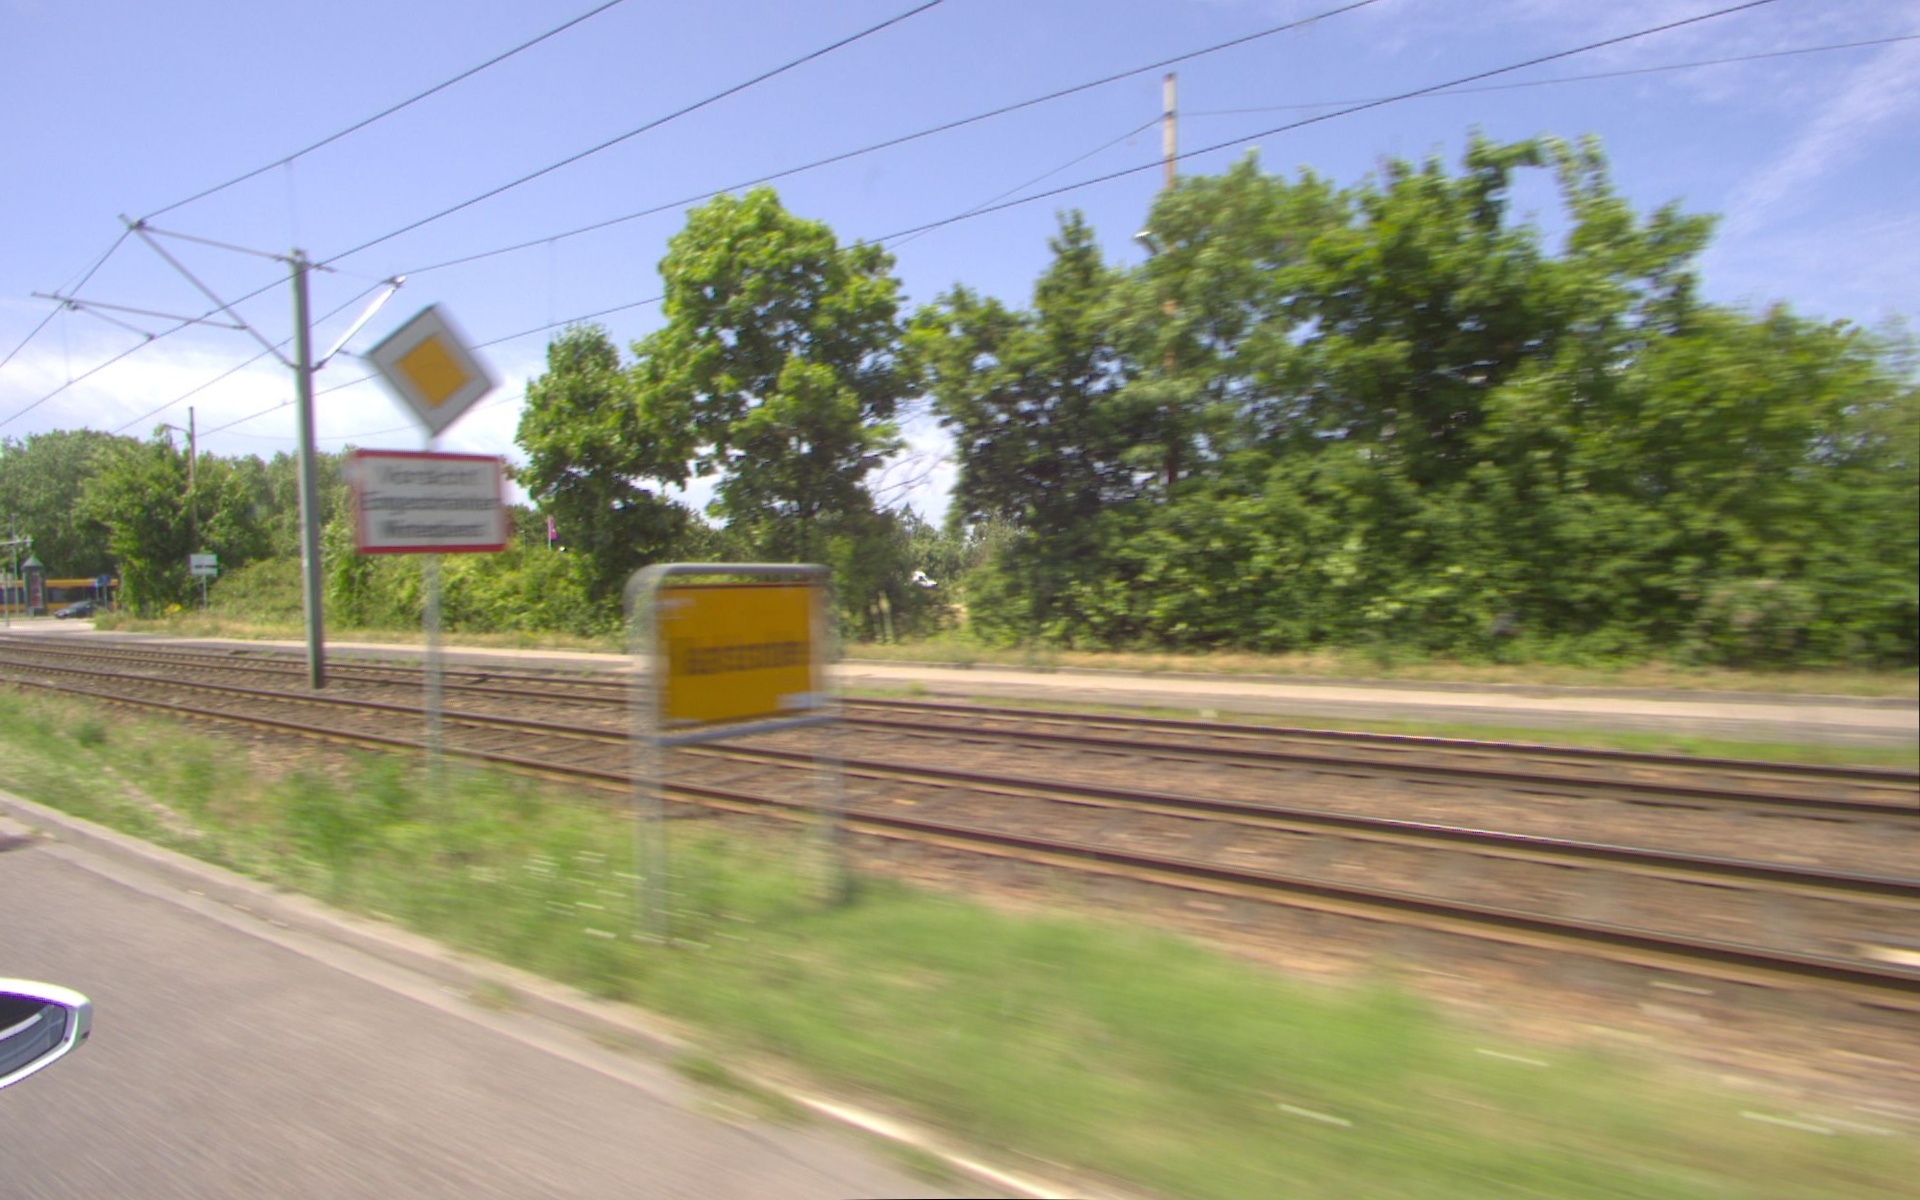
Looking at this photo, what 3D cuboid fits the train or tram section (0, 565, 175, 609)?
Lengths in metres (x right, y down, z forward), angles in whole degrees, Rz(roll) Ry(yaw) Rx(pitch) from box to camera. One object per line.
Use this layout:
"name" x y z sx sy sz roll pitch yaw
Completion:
"train or tram section" -85.247 -1.338 97.358 13.874 3.969 2.903 -2 -1 -38

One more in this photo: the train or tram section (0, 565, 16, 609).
"train or tram section" -95.149 -0.984 91.019 13.240 3.860 2.915 -2 -1 -25

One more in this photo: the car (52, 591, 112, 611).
"car" -70.699 0.058 80.677 1.608 1.483 3.506 -1 2 3
